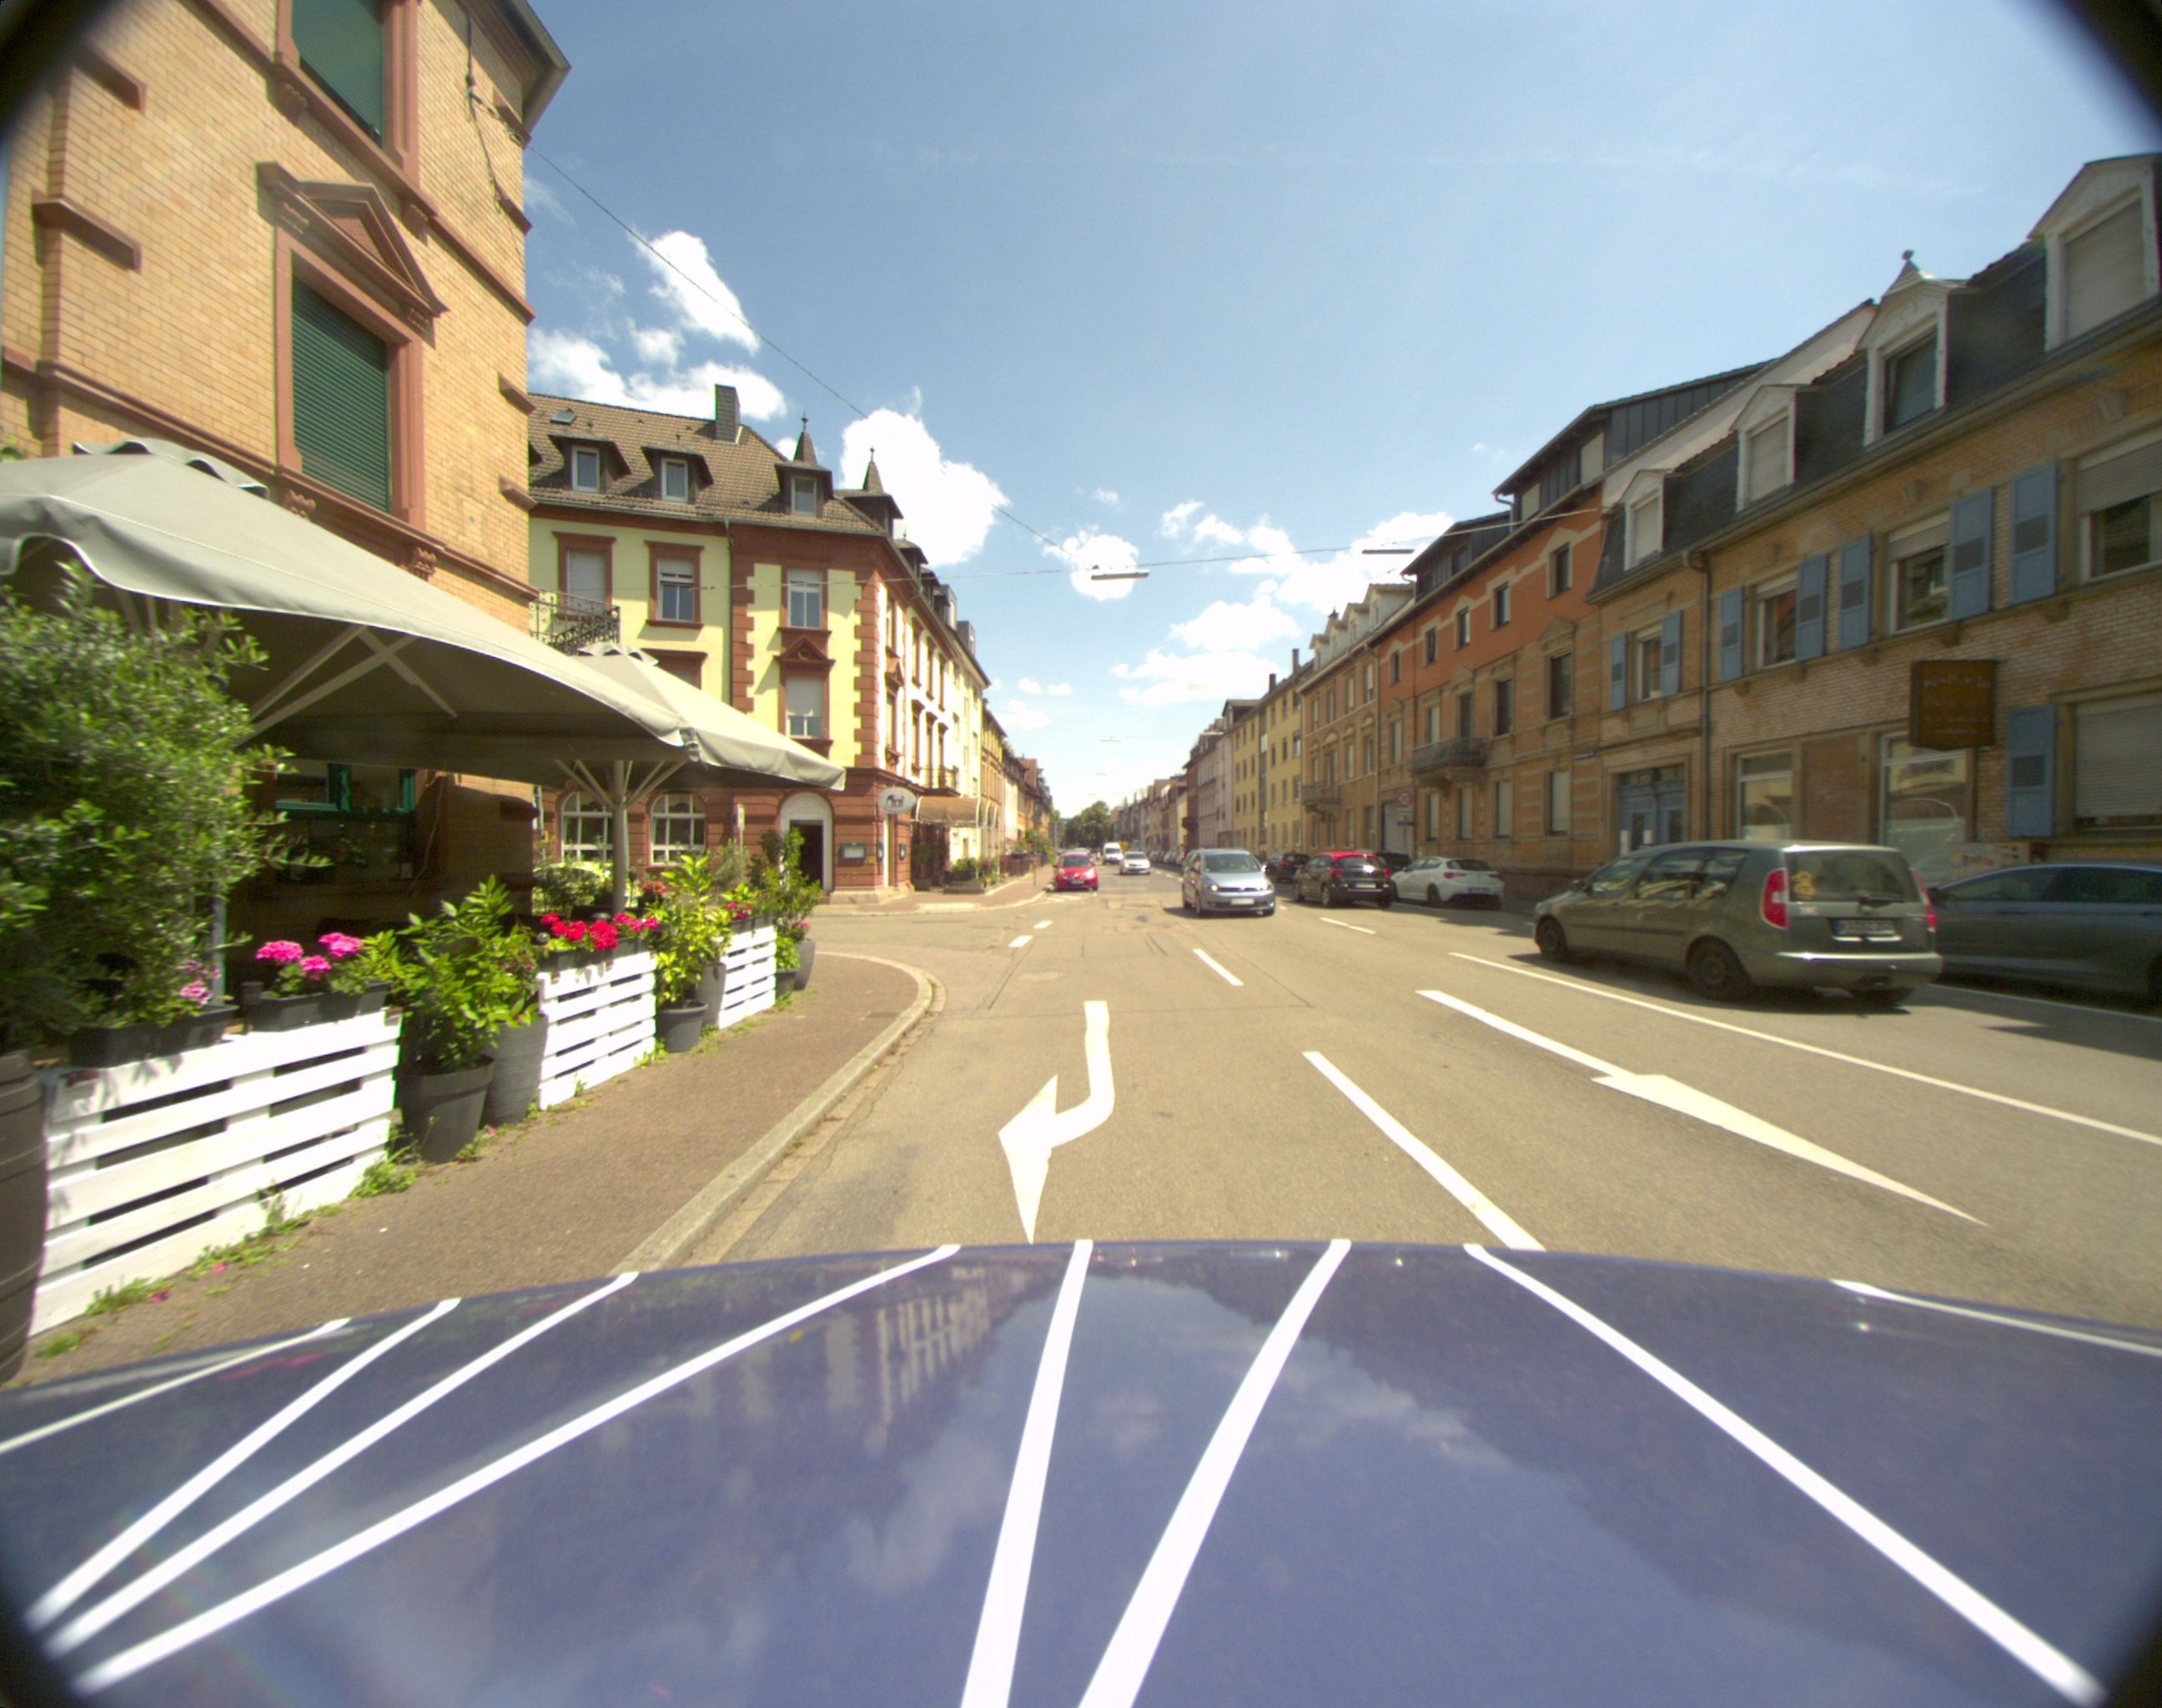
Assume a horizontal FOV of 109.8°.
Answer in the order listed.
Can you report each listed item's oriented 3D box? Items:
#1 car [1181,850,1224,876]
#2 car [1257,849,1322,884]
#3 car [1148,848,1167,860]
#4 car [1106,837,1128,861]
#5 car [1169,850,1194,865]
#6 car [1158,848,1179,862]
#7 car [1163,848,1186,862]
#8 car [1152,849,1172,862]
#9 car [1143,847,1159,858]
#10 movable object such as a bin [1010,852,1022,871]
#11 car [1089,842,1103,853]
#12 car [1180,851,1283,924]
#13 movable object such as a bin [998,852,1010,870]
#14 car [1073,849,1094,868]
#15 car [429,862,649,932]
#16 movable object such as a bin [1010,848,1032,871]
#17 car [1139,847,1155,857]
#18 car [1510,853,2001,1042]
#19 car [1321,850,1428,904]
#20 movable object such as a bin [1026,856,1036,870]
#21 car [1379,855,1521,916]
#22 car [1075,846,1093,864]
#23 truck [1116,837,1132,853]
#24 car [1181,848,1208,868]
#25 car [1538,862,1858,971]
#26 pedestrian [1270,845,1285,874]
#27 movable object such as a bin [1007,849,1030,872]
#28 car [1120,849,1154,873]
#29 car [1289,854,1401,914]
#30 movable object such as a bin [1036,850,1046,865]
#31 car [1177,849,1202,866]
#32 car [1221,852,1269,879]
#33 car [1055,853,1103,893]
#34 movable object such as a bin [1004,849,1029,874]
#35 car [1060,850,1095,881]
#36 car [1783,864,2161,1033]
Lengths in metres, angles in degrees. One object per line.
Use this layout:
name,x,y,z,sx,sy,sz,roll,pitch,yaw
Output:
car,7.253,0.497,45.679,1.764,1.486,4.244,1,0,-1
car,10.473,0.595,38.463,1.870,1.542,4.499,4,1,-1
car,10.144,0.036,100.662,1.749,1.403,4.102,4,1,-3
car,3.565,-0.501,76.480,1.905,2.261,5.671,0,1,-1
car,10.197,0.319,77.482,1.749,1.403,4.511,4,1,-3
car,10.307,0.087,89.447,1.749,1.403,4.102,4,1,-3
car,10.284,0.130,83.830,1.749,1.403,4.102,4,1,-3
car,10.068,0.137,94.938,1.749,1.403,4.102,4,1,-3
car,9.903,-0.215,107.507,1.665,1.403,4.102,4,1,-3
movable object such as a bin,-4.148,0.468,48.453,0.723,1.161,0.747,1,1,-1
car,2.002,-0.913,102.916,1.905,1.489,4.487,0,1,1
car,3.574,0.732,18.716,1.758,1.559,4.000,-1,0,0
movable object such as a bin,-4.895,0.447,48.407,0.723,1.161,0.747,1,1,-1
car,0.194,0.335,64.715,1.708,1.470,3.930,-2,1,0
car,-13.212,1.003,18.795,4.002,1.471,1.801,0,3,-13
movable object such as a bin,-3.709,0.333,47.080,1.285,1.402,1.304,1,1,1
car,9.753,-0.319,112.420,1.665,1.403,4.102,4,1,-3
car,6.927,0.788,8.593,1.706,1.565,4.312,1,0,0
car,10.261,0.727,26.968,1.870,1.618,4.499,4,1,-1
movable object such as a bin,-3.290,0.593,49.969,0.626,0.923,0.612,1,1,-1
car,10.414,0.828,21.876,1.869,1.418,4.330,4,1,0
car,0.300,0.071,76.352,1.708,1.700,3.930,-2,1,0
truck,7.840,-1.612,139.282,2.323,2.725,8.066,1,1,-1
car,9.825,0.379,65.761,1.746,1.579,3.958,4,1,16
car,10.420,0.957,13.381,1.870,1.398,4.328,4,1,-3
pedestrian,11.990,0.331,46.338,0.804,1.746,0.876,1,1,8
movable object such as a bin,-3.747,0.373,45.711,1.285,1.388,1.364,1,1,1
car,3.503,0.406,48.507,1.905,1.489,4.487,0,1,1
car,7.215,0.746,21.192,1.706,1.469,4.133,1,0,0
movable object such as a bin,-3.261,0.298,61.555,0.753,1.235,0.877,1,1,-1
car,10.238,0.283,72.067,1.749,1.403,4.284,4,1,1
car,10.225,0.705,47.691,1.909,1.443,4.685,4,1,0
car,-0.156,0.742,31.388,1.762,1.470,3.782,-2,1,-3
movable object such as a bin,-3.739,0.412,44.296,1.285,1.388,1.413,1,1,1
car,-0.144,0.590,42.014,1.762,1.542,4.065,-2,1,1
car,10.412,0.919,7.716,1.870,1.398,4.835,4,1,-3
